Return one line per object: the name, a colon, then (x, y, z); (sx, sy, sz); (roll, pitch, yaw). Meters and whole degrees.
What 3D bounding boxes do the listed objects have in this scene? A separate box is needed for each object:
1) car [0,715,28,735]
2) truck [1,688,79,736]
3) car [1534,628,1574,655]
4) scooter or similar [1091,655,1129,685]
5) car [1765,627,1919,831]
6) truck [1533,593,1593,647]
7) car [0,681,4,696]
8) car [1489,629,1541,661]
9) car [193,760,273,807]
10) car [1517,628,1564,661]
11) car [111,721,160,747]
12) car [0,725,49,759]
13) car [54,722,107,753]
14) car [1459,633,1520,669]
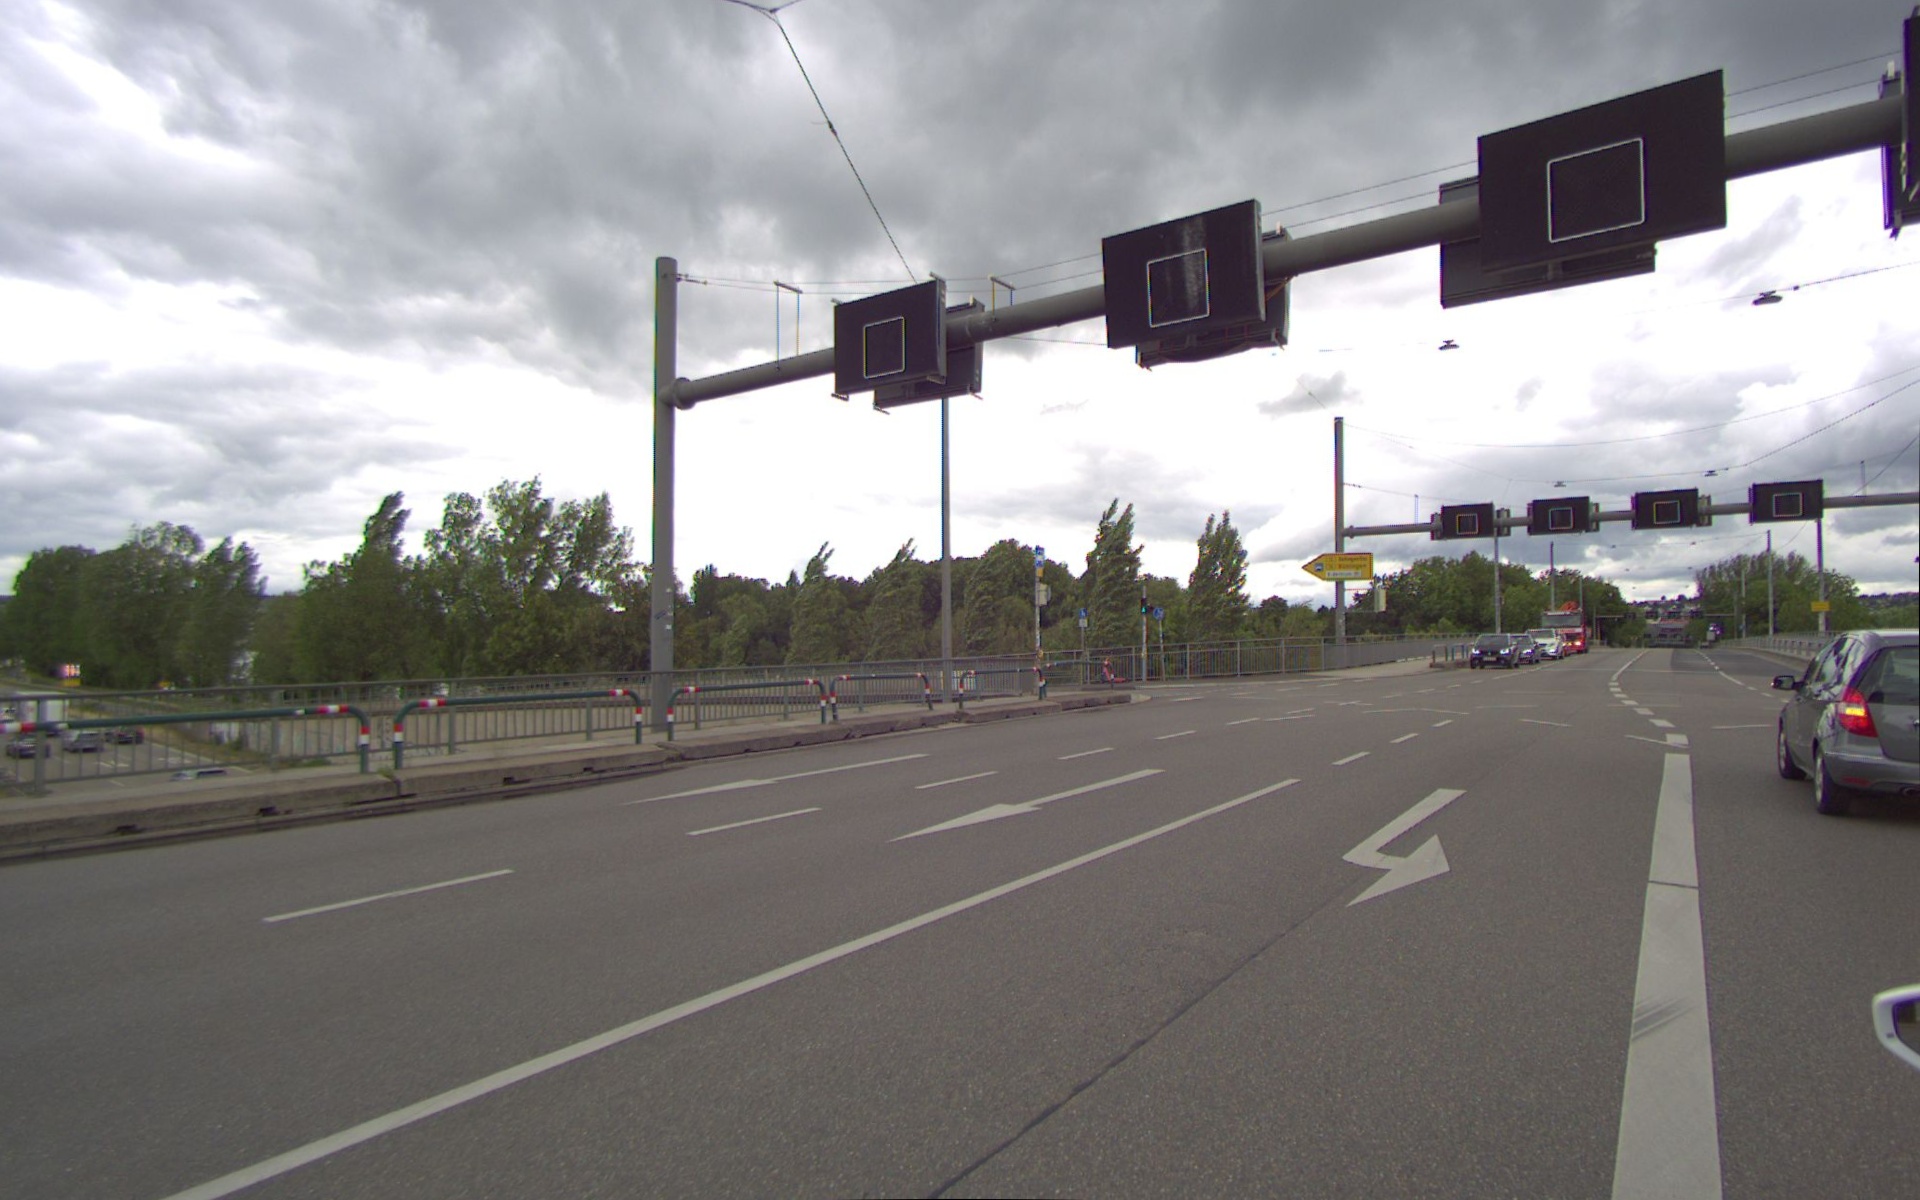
car: (-86.459, 11.332, 91.307); (4.266, 1.638, 1.991); (-3, -5, 41)
truck: (-75.658, 9.085, 82.580); (8.118, 3.500, 3.579); (-2, -5, 40)
car: (37.858, 2.633, 63.986); (1.855, 1.624, 4.002); (-3, -3, 35)
scooter or similar: (5.698, 2.652, 38.090); (1.312, 1.070, 0.484); (-4, -3, 28)
car: (8.695, 1.037, 9.199); (1.721, 1.571, 3.860); (0, -1, 34)
truck: (43.716, 1.517, 72.650); (2.966, 3.612, 9.950); (-3, -3, 35)
car: (-135.427, 12.367, 140.032); (4.574, 2.040, 2.586); (-3, -4, 41)
car: (27.964, 2.246, 50.530); (1.811, 1.524, 4.502); (-3, -3, 35)
car: (-35.940, 9.009, 49.612); (4.358, 1.739, 2.130); (-1, -4, 40)
car: (32.886, 2.478, 56.882); (1.855, 1.784, 4.787); (-3, -3, 35)
car: (-64.167, 10.377, 78.149); (4.358, 1.586, 2.130); (-1, -4, 40)
car: (-63.232, 9.522, 67.677); (4.664, 1.740, 2.325); (-2, -1, 42)
car: (-62.798, 9.791, 71.696); (4.358, 1.739, 2.130); (-1, -4, 40)
car: (23.806, 2.252, 45.112); (1.812, 1.524, 3.856); (-3, -3, 37)
